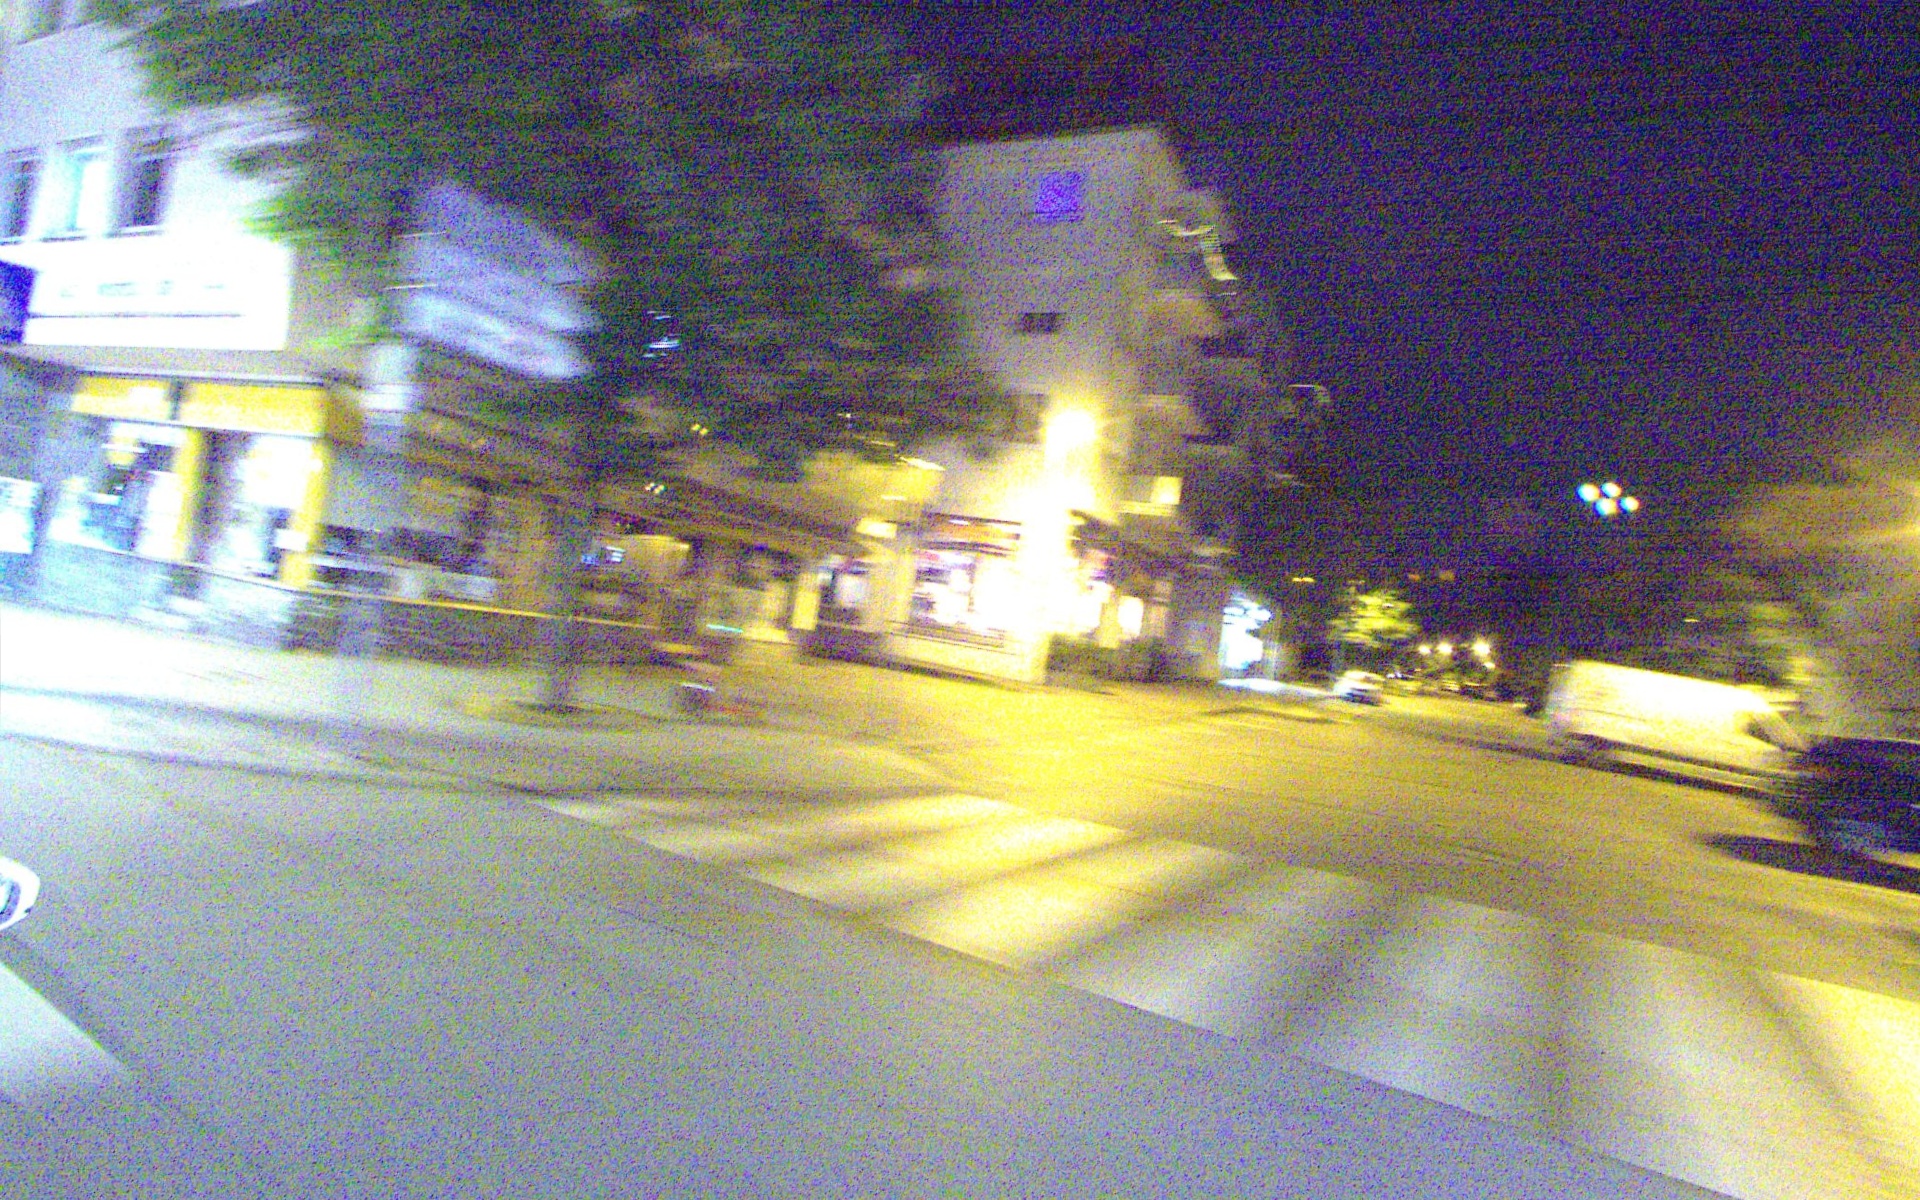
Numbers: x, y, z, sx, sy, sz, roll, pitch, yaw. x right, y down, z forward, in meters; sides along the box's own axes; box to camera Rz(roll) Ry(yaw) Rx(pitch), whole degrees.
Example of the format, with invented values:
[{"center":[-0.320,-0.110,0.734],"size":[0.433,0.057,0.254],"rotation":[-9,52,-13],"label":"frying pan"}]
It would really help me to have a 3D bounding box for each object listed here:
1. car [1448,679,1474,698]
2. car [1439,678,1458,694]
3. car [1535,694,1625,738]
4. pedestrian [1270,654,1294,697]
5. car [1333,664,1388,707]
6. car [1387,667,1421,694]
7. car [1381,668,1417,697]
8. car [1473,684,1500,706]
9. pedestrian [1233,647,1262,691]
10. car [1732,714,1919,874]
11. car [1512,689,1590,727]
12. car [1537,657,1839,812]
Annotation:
[{"center":[54.866,9.668,110.220],"size":[1.842,1.714,4.213],"rotation":[9,0,21],"label":"car"},{"center":[61.465,10.862,126.522],"size":[1.805,1.747,4.001],"rotation":[7,-2,24],"label":"car"},{"center":[35.287,6.589,57.376],"size":[4.142,1.647,1.878],"rotation":[10,1,31],"label":"car"},{"center":[13.325,3.128,41.668],"size":[0.703,1.666,0.613],"rotation":[7,-1,25],"label":"pedestrian"},{"center":[19.878,4.198,49.814],"size":[1.965,1.714,4.209],"rotation":[9,0,27],"label":"car"},{"center":[34.300,6.183,77.653],"size":[1.965,1.714,4.209],"rotation":[9,0,27],"label":"car"},{"center":[31.793,5.927,72.755],"size":[1.965,1.714,4.209],"rotation":[9,0,27],"label":"car"},{"center":[51.687,9.304,98.859],"size":[1.910,1.714,4.211],"rotation":[9,0,25],"label":"car"},{"center":[11.781,2.845,41.248],"size":[0.847,1.666,0.789],"rotation":[7,-1,27],"label":"pedestrian"},{"center":[13.102,2.766,13.251],"size":[4.139,1.713,1.999],"rotation":[9,0,27],"label":"car"},{"center":[38.792,7.062,66.201],"size":[4.140,1.714,1.998],"rotation":[9,1,29],"label":"car"},{"center":[17.750,3.214,24.933],"size":[5.403,2.620,2.001],"rotation":[10,0,21],"label":"car"}]
